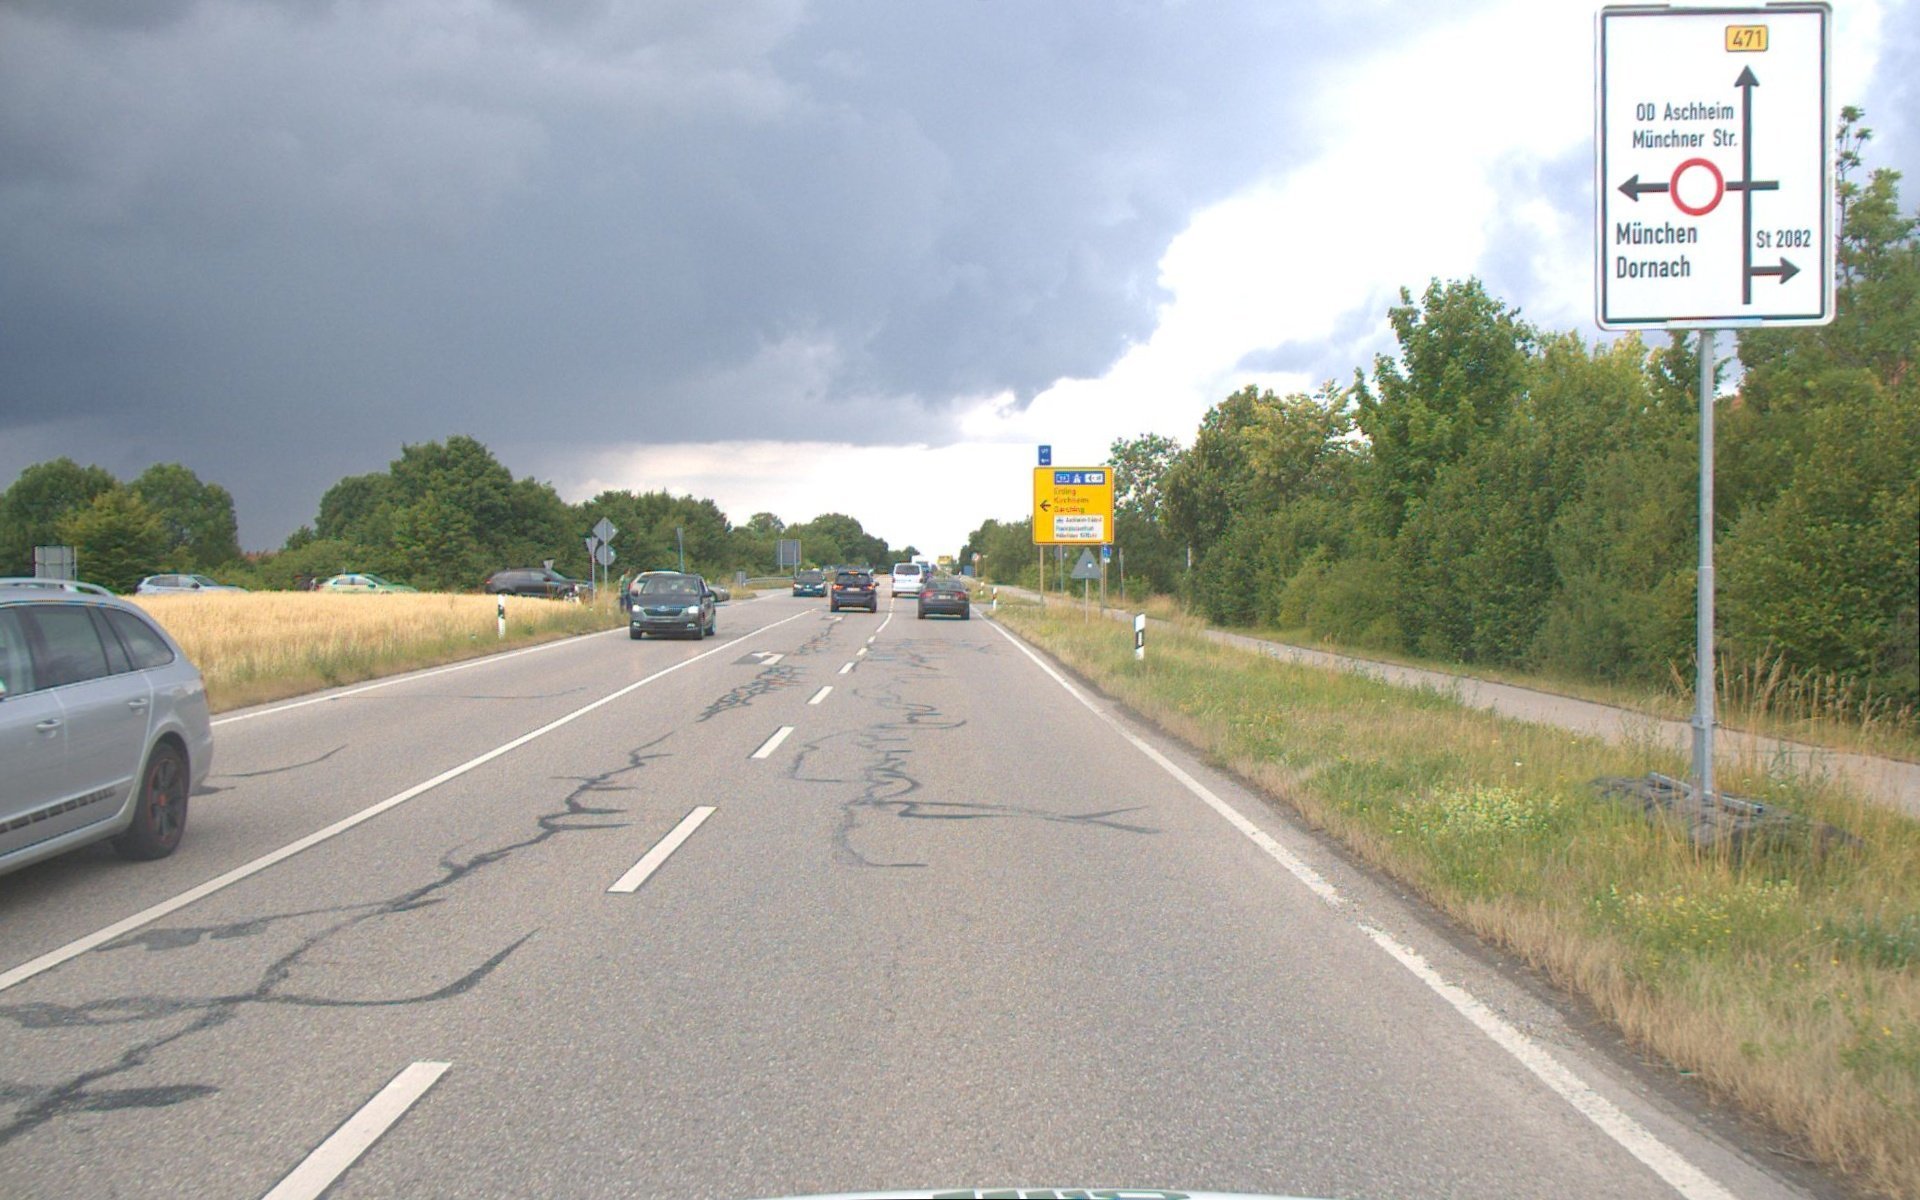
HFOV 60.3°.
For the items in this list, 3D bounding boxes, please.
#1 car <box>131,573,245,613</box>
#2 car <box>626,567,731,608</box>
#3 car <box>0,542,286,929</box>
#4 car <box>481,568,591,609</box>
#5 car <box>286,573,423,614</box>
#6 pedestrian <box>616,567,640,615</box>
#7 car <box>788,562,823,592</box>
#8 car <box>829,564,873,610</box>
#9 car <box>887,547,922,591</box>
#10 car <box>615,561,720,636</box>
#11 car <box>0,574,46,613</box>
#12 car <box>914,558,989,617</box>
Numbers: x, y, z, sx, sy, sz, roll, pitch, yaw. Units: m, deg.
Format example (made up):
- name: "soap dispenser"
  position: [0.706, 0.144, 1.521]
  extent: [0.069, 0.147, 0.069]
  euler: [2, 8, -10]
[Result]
- name: "car"
  position: [-33.104, -0.313, 70.954]
  extent: [3.987, 1.677, 1.867]
  euler: [-1, 1, 3]
- name: "car"
  position: [-12.052, -0.539, 70.992]
  extent: [4.328, 1.677, 1.500]
  euler: [-1, 1, -7]
- name: "car"
  position: [-4.922, 0.567, 7.585]
  extent: [1.731, 1.629, 4.929]
  euler: [0, 1, -1]
- name: "car"
  position: [-18.030, -0.492, 70.462]
  extent: [4.326, 1.677, 1.501]
  euler: [-1, 1, -5]
- name: "car"
  position: [-25.992, -0.302, 71.080]
  extent: [5.197, 1.677, 1.867]
  euler: [-1, 1, 3]
- name: "pedestrian"
  position: [-11.116, -0.309, 55.372]
  extent: [0.360, 1.603, 0.701]
  euler: [0, 1, 34]
- name: "car"
  position: [-8.628, -1.305, 92.485]
  extent: [1.612, 1.618, 3.999]
  euler: [-1, 1, -1]
- name: "car"
  position: [-4.245, -0.525, 64.979]
  extent: [1.540, 1.730, 3.999]
  euler: [0, 1, -1]
- name: "car"
  position: [-3.206, -1.816, 96.482]
  extent: [1.958, 2.495, 4.851]
  euler: [-1, 1, -1]
- name: "car"
  position: [-6.795, -0.069, 38.779]
  extent: [1.816, 1.658, 3.999]
  euler: [0, 1, -1]
- name: "car"
  position: [-42.035, -0.280, 71.545]
  extent: [3.987, 1.677, 1.867]
  euler: [-1, 1, 3]
- name: "car"
  position: [-0.350, -0.439, 58.341]
  extent: [2.325, 1.913, 4.475]
  euler: [-2, 1, -4]
